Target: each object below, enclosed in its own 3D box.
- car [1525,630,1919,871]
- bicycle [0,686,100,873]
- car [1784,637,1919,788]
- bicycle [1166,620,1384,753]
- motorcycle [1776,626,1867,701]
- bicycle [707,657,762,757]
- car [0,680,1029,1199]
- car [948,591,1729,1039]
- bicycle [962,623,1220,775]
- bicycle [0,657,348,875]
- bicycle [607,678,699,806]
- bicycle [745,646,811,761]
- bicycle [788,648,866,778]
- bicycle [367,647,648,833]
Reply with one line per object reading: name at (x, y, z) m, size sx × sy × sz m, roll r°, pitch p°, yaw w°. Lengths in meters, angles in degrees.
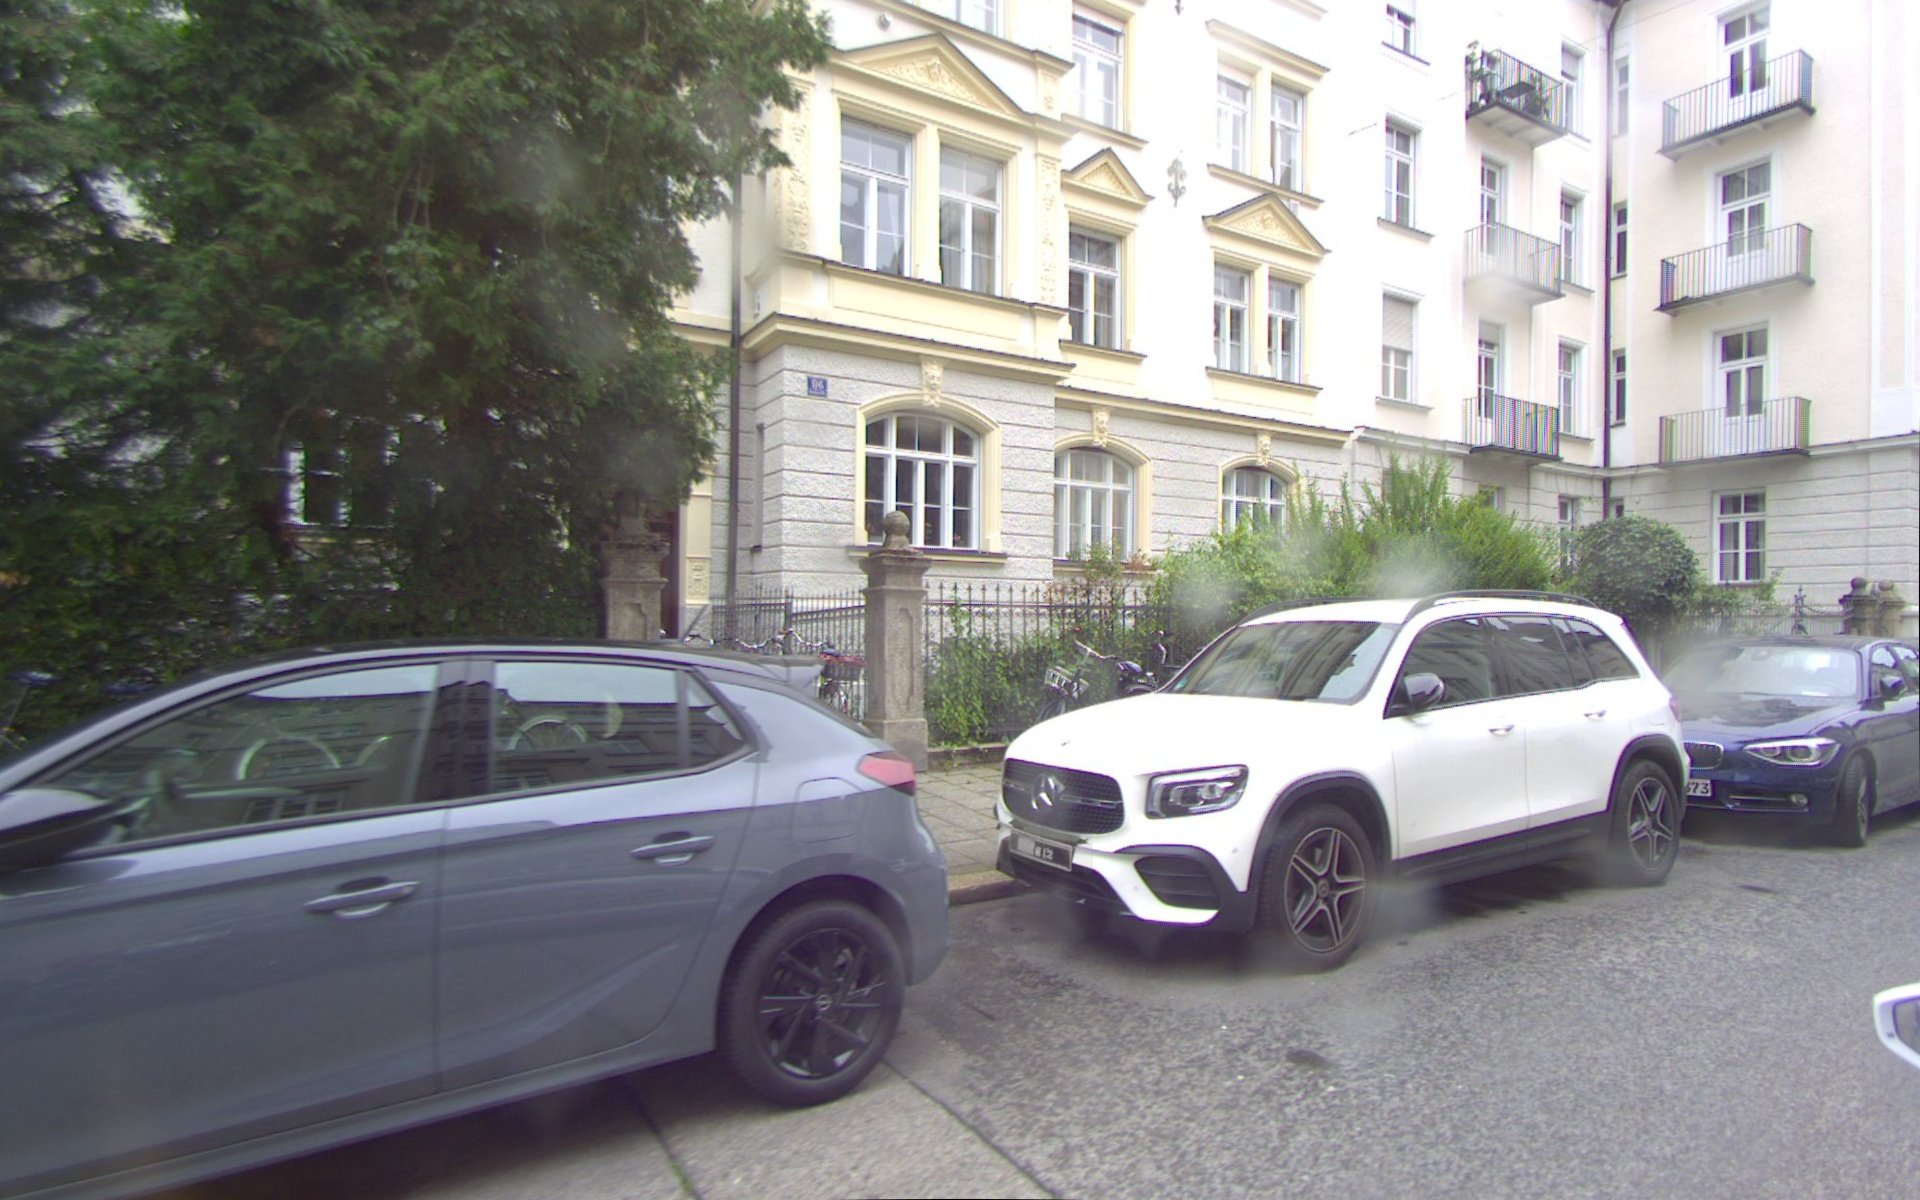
car at (6.427, 0.983, 7.991) m, size 3.957 × 1.439 × 1.758 m, roll 1°, pitch -1°, yaw -33°
bicycle at (-5.711, 1.006, 5.370) m, size 1.619 × 0.964 × 0.447 m, roll -1°, pitch 0°, yaw -33°
car at (10.684, 1.100, 10.746) m, size 4.148 × 1.382 × 1.725 m, roll 1°, pitch -3°, yaw -34°
bicycle at (3.453, 0.882, 10.916) m, size 2.500 × 1.314 × 0.752 m, roll 1°, pitch -2°, yaw -30°
motorcycle at (15.442, 1.125, 17.998) m, size 1.800 × 1.266 × 0.700 m, roll 2°, pitch 0°, yaw -32°
bicycle at (-2.782, 1.289, 12.355) m, size 0.388 × 1.118 × 1.134 m, roll 0°, pitch -1°, yaw -27°
car at (-1.847, 1.027, 3.062) m, size 3.875 × 1.449 × 1.634 m, roll 1°, pitch -4°, yaw -32°
car at (2.288, 0.855, 5.699) m, size 4.434 × 1.670 × 1.797 m, roll 1°, pitch -2°, yaw -32°
bicycle at (1.274, 0.865, 9.459) m, size 2.500 × 1.276 × 0.693 m, roll 1°, pitch -2°, yaw -30°
bicycle at (-4.713, 0.933, 6.033) m, size 1.768 × 1.112 × 0.486 m, roll 0°, pitch 0°, yaw -32°
bicycle at (-2.678, 1.180, 8.685) m, size 0.335 × 0.974 × 1.463 m, roll 0°, pitch -3°, yaw -34°
bicycle at (-1.961, 1.073, 10.765) m, size 0.388 × 1.118 × 1.134 m, roll 0°, pitch -1°, yaw -27°
bicycle at (-1.285, 1.041, 9.587) m, size 0.388 × 1.118 × 1.134 m, roll 0°, pitch -1°, yaw -27°
bicycle at (-3.128, 0.915, 7.023) m, size 1.746 × 1.112 × 0.486 m, roll 0°, pitch 0°, yaw -32°
